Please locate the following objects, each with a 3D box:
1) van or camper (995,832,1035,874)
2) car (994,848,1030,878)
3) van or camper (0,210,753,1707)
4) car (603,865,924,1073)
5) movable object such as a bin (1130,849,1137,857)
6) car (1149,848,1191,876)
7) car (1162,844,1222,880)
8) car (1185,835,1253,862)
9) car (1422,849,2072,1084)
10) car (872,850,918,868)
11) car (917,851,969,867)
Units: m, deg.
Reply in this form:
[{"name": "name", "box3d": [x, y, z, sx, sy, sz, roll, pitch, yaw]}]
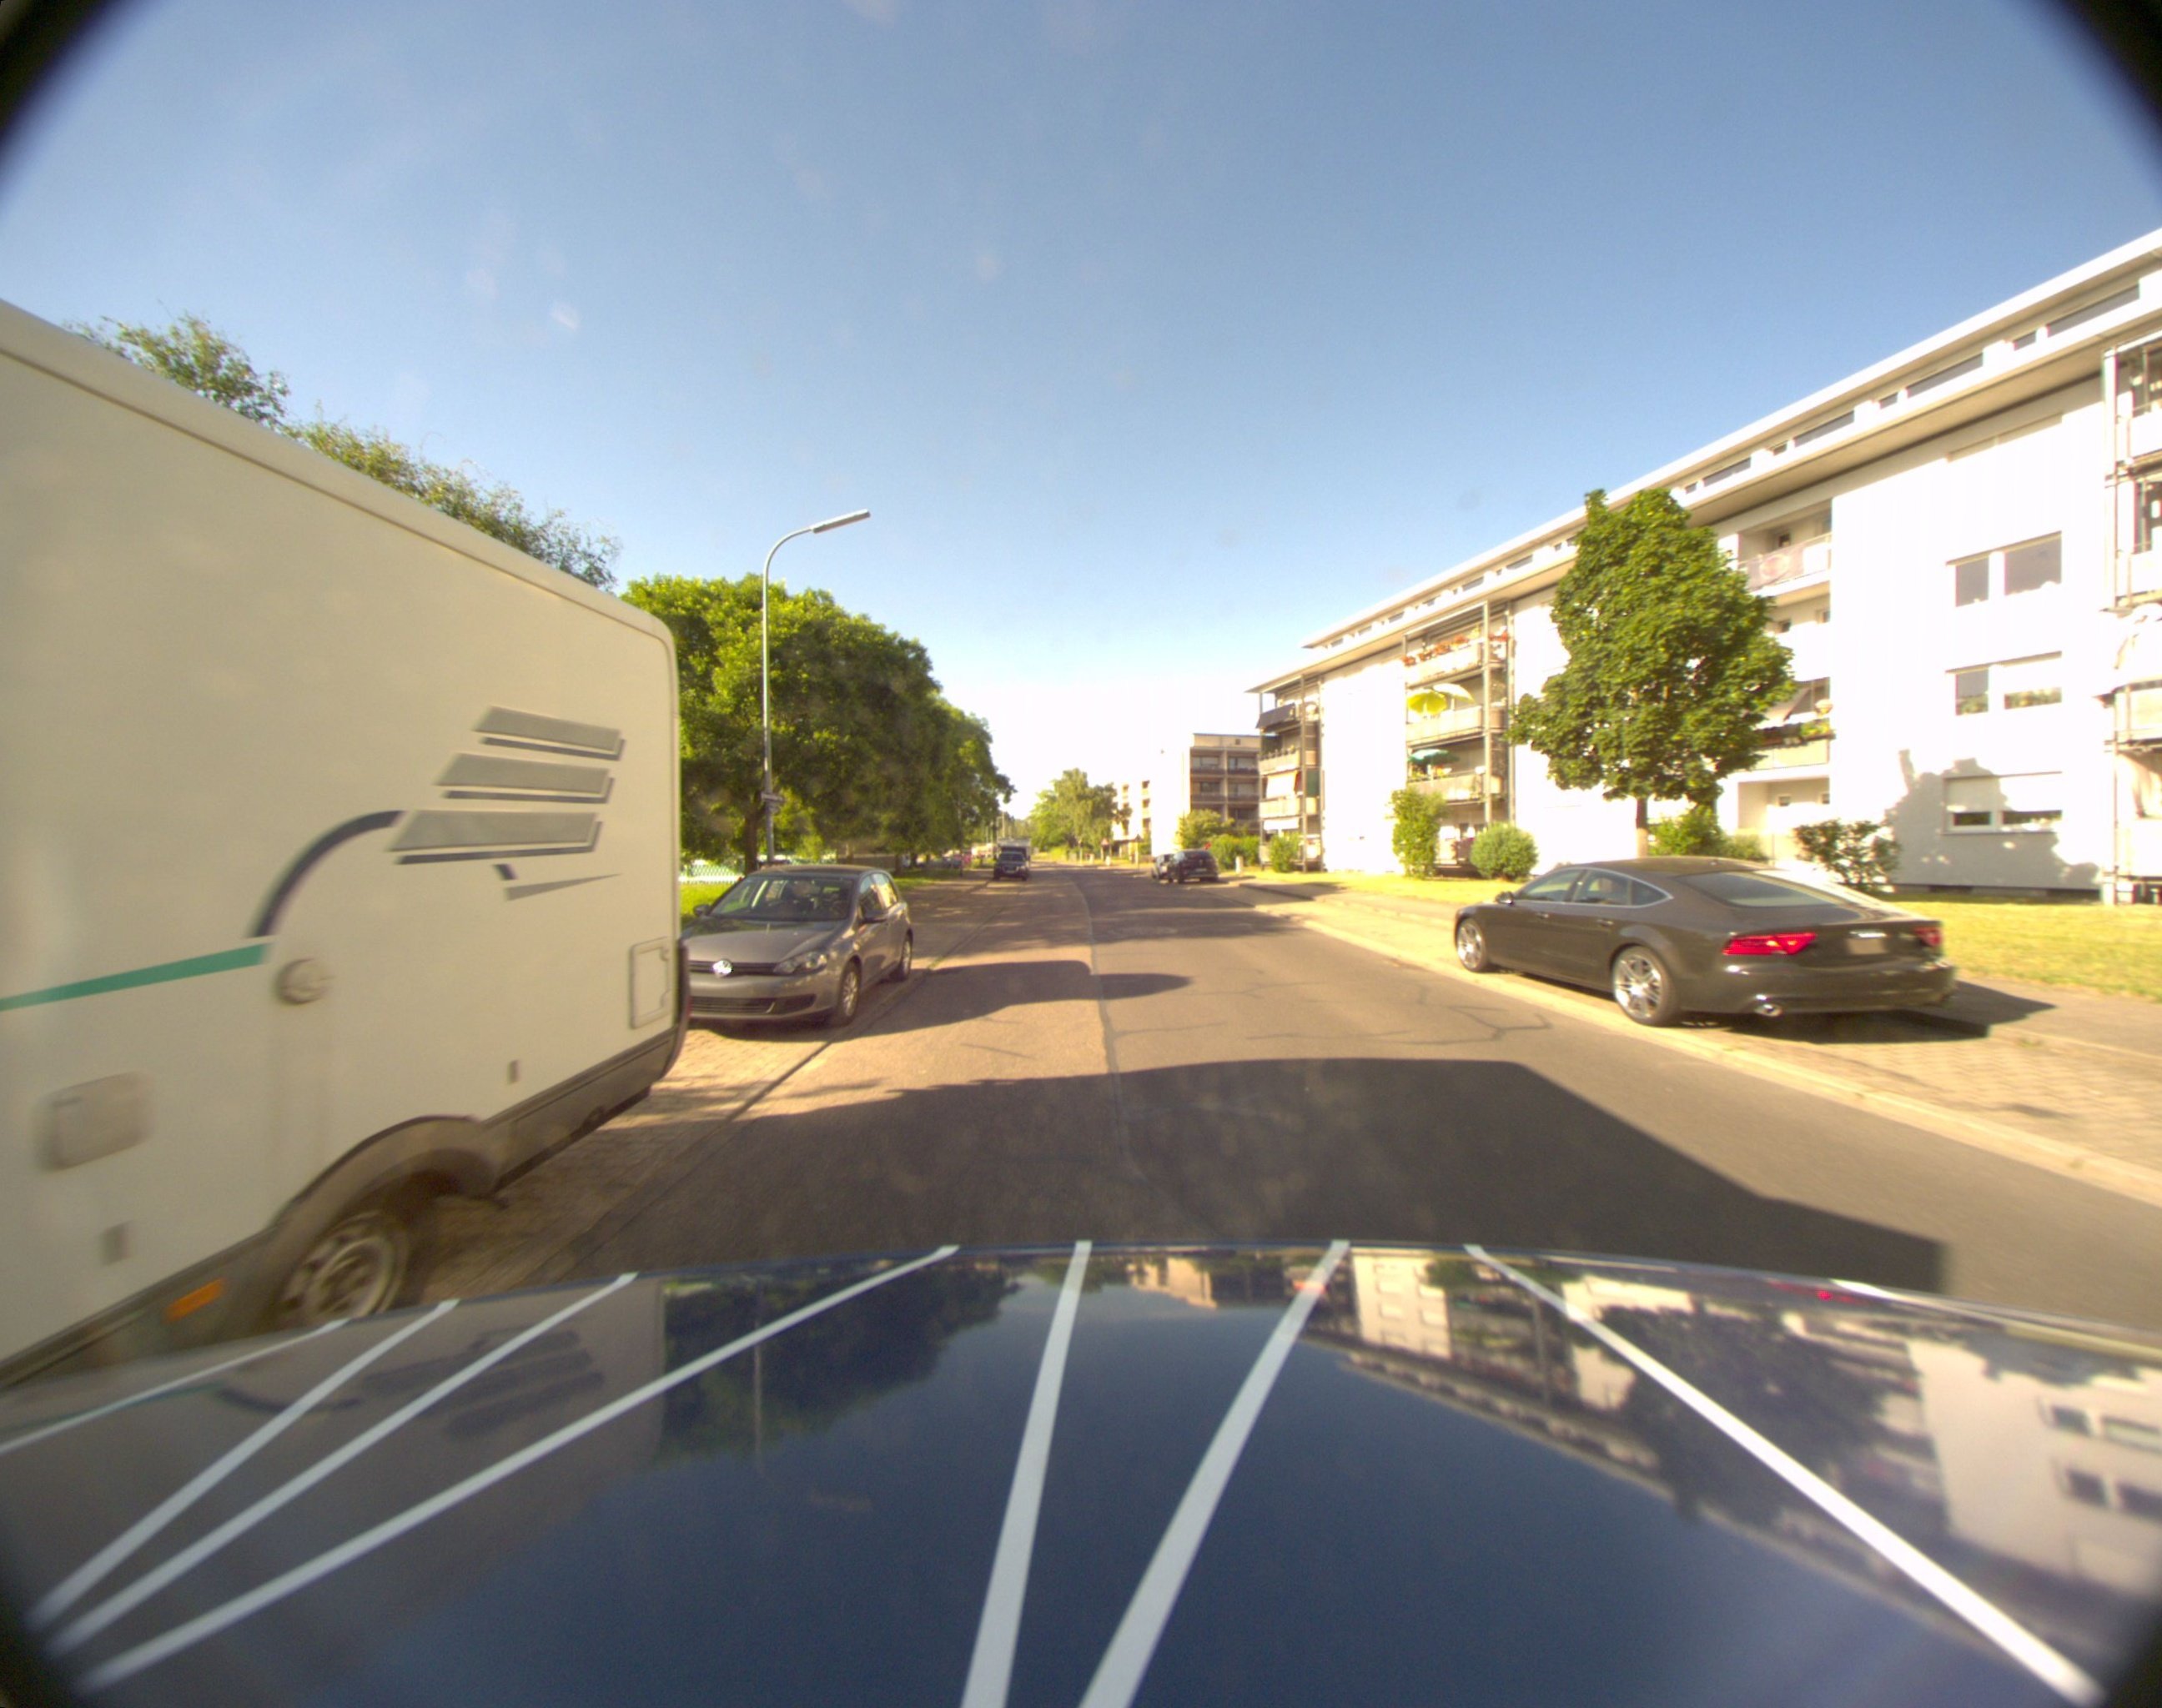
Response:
[{"name": "van or camper", "box3d": [-4.386, -0.067, 51.311, 2.358, 2.581, 6.423, 2, 0, -3]}, {"name": "car", "box3d": [-4.037, 0.480, 44.539, 1.999, 1.631, 4.534, 1, 0, -5]}, {"name": "van or camper", "box3d": [-3.252, 0.224, 1.224, 2.503, 2.829, 6.850, 0, 1, -1]}, {"name": "car", "box3d": [-3.018, 0.968, 8.352, 1.725, 1.515, 4.427, 2, 1, -1]}, {"name": "movable object such as a bin", "box3d": [6.380, -0.111, 92.613, 0.565, 1.047, 0.556, -1, 1, -27]}, {"name": "car", "box3d": [4.975, 0.409, 42.888, 1.651, 1.458, 4.329, -2, 1, -2]}, {"name": "car", "box3d": [5.260, 0.311, 36.605, 1.920, 1.594, 4.809, 0, 1, -4]}, {"name": "car", "box3d": [12.795, -0.499, 70.642, 5.922, 2.414, 2.212, 0, -1, -6]}, {"name": "car", "box3d": [5.739, 0.757, 7.822, 2.040, 1.484, 5.255, -3, 1, 0]}, {"name": "car", "box3d": [-16.963, 0.406, 69.311, 3.693, 1.569, 1.828, -1, 1, 3]}, {"name": "car", "box3d": [-12.547, 0.479, 69.210, 4.436, 1.329, 1.746, -1, -1, 0]}]
